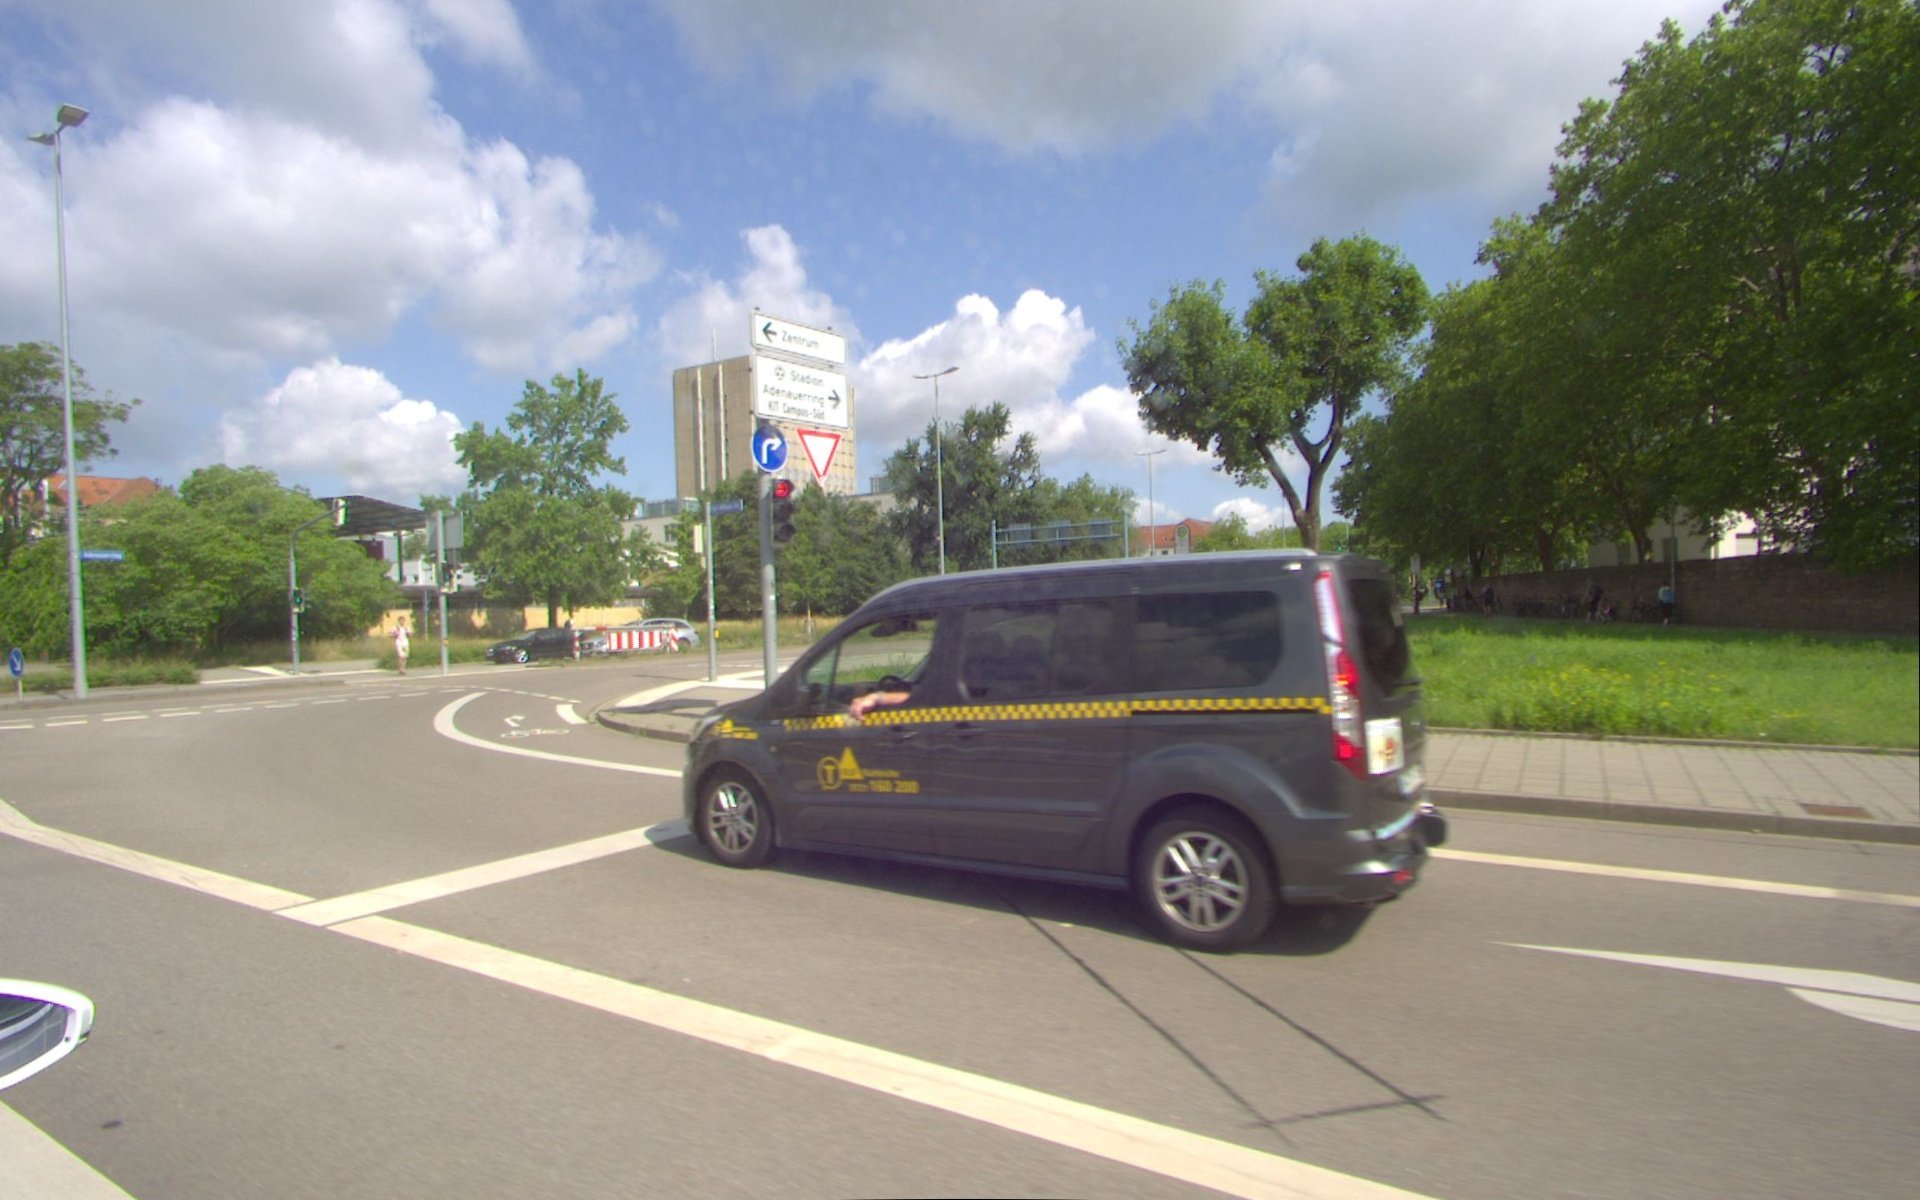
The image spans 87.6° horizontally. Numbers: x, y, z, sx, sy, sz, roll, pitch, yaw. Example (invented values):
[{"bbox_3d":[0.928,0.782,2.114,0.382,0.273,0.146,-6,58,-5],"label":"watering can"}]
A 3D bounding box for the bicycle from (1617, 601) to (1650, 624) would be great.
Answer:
[{"bbox_3d":[26.117,0.487,38.832,0.955,0.860,0.482,-1,1,10],"label":"bicycle"}]

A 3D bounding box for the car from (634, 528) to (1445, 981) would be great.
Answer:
[{"bbox_3d":[0.271,0.672,6.068,4.607,1.808,1.844,-1,-1,34],"label":"car"}]

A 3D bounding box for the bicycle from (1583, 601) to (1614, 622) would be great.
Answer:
[{"bbox_3d":[26.762,0.468,41.969,0.955,0.860,0.482,-1,1,10],"label":"bicycle"}]

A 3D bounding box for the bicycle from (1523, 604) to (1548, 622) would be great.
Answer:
[{"bbox_3d":[27.911,0.636,48.557,0.955,0.860,0.482,-1,1,10],"label":"bicycle"}]

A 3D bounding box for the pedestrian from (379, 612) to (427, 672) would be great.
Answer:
[{"bbox_3d":[-18.107,1.362,32.558,1.161,1.881,0.697,-2,0,22],"label":"pedestrian"}]

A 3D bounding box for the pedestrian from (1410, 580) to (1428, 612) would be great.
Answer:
[{"bbox_3d":[25.901,-0.232,56.507,0.739,1.803,0.766,-2,0,32],"label":"pedestrian"}]

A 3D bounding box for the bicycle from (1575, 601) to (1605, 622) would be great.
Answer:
[{"bbox_3d":[26.848,0.493,42.704,0.955,0.860,0.482,-1,1,10],"label":"bicycle"}]

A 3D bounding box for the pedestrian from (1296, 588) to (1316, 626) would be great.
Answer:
[{"bbox_3d":[16.882,0.355,48.862,0.738,1.803,0.961,-2,0,29],"label":"pedestrian"}]

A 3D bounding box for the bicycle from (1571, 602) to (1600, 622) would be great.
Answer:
[{"bbox_3d":[27.003,0.513,43.249,0.955,0.860,0.482,-1,1,10],"label":"bicycle"}]

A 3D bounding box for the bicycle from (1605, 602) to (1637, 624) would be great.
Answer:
[{"bbox_3d":[26.400,0.507,40.014,0.955,0.860,0.482,-1,1,10],"label":"bicycle"}]

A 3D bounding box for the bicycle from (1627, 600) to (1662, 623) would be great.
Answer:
[{"bbox_3d":[26.069,0.441,38.147,0.955,0.860,0.482,-1,1,10],"label":"bicycle"}]

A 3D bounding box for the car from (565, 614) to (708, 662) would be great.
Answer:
[{"bbox_3d":[-11.977,1.386,37.324,2.037,1.460,4.747,-4,-2,36],"label":"car"}]

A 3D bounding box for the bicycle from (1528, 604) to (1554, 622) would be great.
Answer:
[{"bbox_3d":[27.836,0.615,47.982,0.955,0.860,0.482,-1,1,10],"label":"bicycle"}]

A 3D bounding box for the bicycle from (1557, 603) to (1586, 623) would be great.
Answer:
[{"bbox_3d":[27.208,0.562,44.564,0.955,0.860,0.482,-1,1,10],"label":"bicycle"}]

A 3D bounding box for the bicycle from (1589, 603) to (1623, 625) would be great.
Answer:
[{"bbox_3d":[26.537,0.562,41.172,1.053,0.860,0.499,-1,1,10],"label":"bicycle"}]

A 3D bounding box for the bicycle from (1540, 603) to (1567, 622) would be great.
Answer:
[{"bbox_3d":[27.528,0.562,46.452,0.955,0.860,0.482,-1,1,10],"label":"bicycle"}]

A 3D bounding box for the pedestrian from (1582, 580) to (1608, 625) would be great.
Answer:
[{"bbox_3d":[24.889,0.104,39.256,0.651,1.746,0.742,-1,1,13],"label":"pedestrian"}]

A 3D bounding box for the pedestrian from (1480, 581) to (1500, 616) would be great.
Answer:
[{"bbox_3d":[28.087,-0.071,53.038,0.874,1.804,0.766,-1,1,32],"label":"pedestrian"}]

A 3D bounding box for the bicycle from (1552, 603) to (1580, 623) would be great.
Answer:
[{"bbox_3d":[27.289,0.581,45.114,0.955,0.860,0.482,-1,1,10],"label":"bicycle"}]

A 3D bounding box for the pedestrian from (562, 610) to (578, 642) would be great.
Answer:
[{"bbox_3d":[-19.975,1.340,51.322,0.534,1.628,0.522,-1,-1,28],"label":"pedestrian"}]

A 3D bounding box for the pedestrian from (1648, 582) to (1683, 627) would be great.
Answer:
[{"bbox_3d":[24.873,0.159,35.307,0.712,1.554,0.724,-2,0,6],"label":"pedestrian"}]

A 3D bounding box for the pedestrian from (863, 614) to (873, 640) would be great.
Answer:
[{"bbox_3d":[-6.523,1.926,70.863,0.534,1.791,0.522,-1,-1,28],"label":"pedestrian"}]

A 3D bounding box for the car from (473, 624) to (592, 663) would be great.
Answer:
[{"bbox_3d":[-17.638,1.770,41.481,1.972,1.395,4.136,-1,0,34],"label":"car"}]
